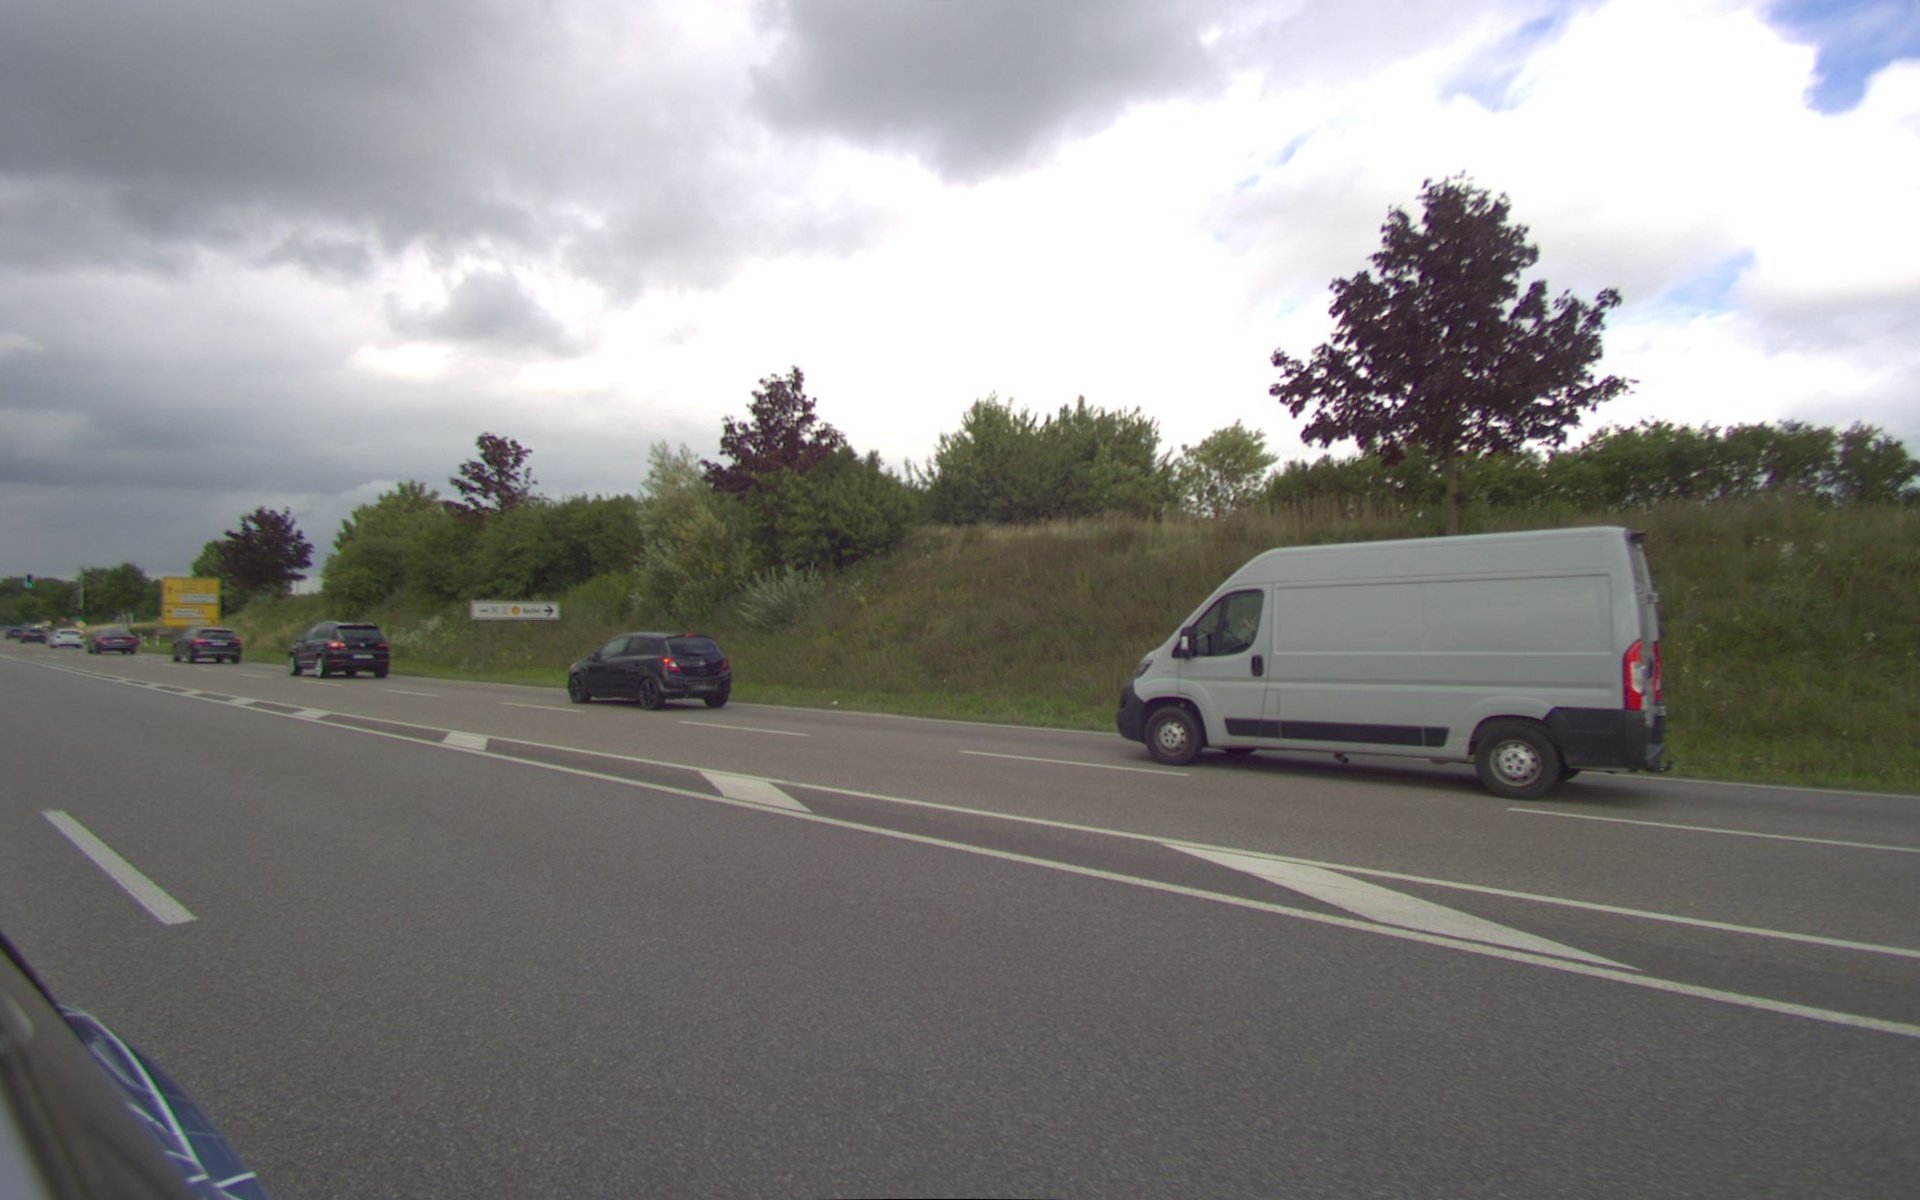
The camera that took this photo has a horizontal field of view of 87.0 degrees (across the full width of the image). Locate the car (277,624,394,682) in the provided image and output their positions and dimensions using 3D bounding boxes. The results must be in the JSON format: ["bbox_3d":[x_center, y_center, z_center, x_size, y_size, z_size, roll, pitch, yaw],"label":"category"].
[{"bbox_3d":[-19.210,1.609,31.048,4.514,1.647,1.775,-2,-4,42],"label":"car"}]

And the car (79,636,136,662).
[{"bbox_3d":[-49.373,2.808,58.591,4.703,1.416,1.775,-2,-5,42],"label":"car"}]

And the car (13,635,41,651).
[{"bbox_3d":[-90.908,4.196,98.635,4.660,1.492,1.704,-2,-4,44],"label":"car"}]

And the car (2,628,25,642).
[{"bbox_3d":[-123.569,4.579,132.069,4.128,1.729,1.831,-2,-2,42],"label":"car"}]

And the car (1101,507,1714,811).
[{"bbox_3d":[4.445,0.580,10.772,5.629,2.458,2.013,-2,-4,39],"label":"car"}]

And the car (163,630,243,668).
[{"bbox_3d":[-32.393,2.076,43.270,4.703,1.523,1.775,-2,-4,42],"label":"car"}]

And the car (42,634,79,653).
[{"bbox_3d":[-68.279,3.278,76.833,4.054,1.425,1.591,-2,-3,42],"label":"car"}]

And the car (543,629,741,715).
[{"bbox_3d":[-6.359,1.364,20.025,4.189,1.542,1.715,-2,-3,39],"label":"car"}]
